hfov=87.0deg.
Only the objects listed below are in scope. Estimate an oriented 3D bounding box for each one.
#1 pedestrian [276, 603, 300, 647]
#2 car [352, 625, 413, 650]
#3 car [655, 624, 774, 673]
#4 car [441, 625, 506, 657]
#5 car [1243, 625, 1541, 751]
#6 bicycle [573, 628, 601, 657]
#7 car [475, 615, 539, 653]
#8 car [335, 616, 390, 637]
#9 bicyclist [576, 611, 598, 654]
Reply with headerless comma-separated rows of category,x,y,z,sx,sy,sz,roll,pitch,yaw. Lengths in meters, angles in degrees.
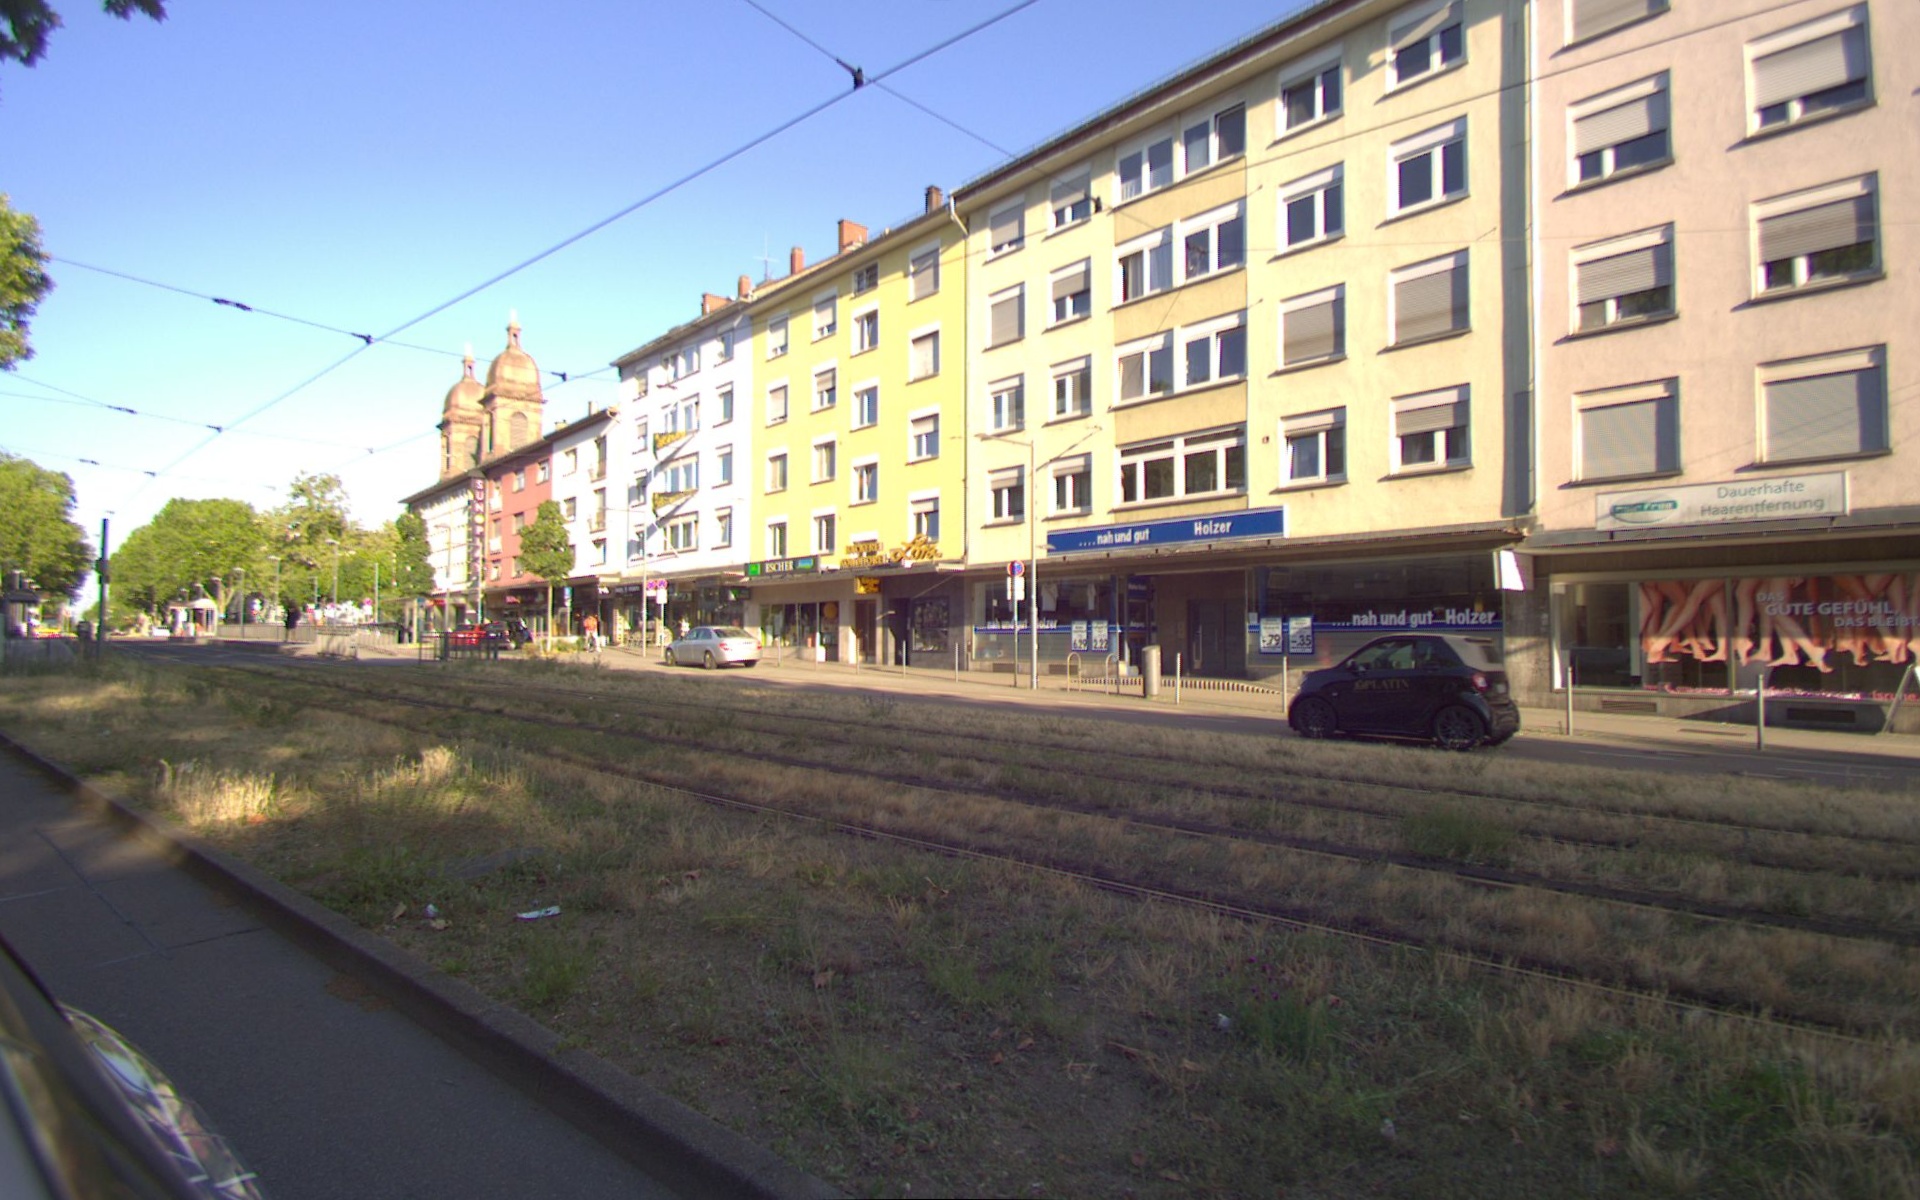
pedestrian,-28.884,1.079,43.498,0.590,1.863,0.733,-2,-3,42
car,-39.982,2.564,70.192,1.845,1.541,3.996,-1,0,3
car,-8.512,1.622,34.888,1.971,1.489,4.413,-1,0,-45
car,-26.213,2.208,54.658,1.836,1.502,3.773,-1,0,-4
car,5.968,1.151,14.144,3.475,1.520,1.704,-1,-4,42
bicycle,-17.172,1.936,46.582,0.696,1.167,2.204,-2,2,-33
car,-23.706,1.757,53.105,1.836,1.813,3.773,-1,0,-4
car,-44.692,1.960,75.804,1.719,1.497,3.999,-1,0,1
bicyclist,-17.098,1.470,46.425,0.683,1.900,1.061,-2,2,-33
